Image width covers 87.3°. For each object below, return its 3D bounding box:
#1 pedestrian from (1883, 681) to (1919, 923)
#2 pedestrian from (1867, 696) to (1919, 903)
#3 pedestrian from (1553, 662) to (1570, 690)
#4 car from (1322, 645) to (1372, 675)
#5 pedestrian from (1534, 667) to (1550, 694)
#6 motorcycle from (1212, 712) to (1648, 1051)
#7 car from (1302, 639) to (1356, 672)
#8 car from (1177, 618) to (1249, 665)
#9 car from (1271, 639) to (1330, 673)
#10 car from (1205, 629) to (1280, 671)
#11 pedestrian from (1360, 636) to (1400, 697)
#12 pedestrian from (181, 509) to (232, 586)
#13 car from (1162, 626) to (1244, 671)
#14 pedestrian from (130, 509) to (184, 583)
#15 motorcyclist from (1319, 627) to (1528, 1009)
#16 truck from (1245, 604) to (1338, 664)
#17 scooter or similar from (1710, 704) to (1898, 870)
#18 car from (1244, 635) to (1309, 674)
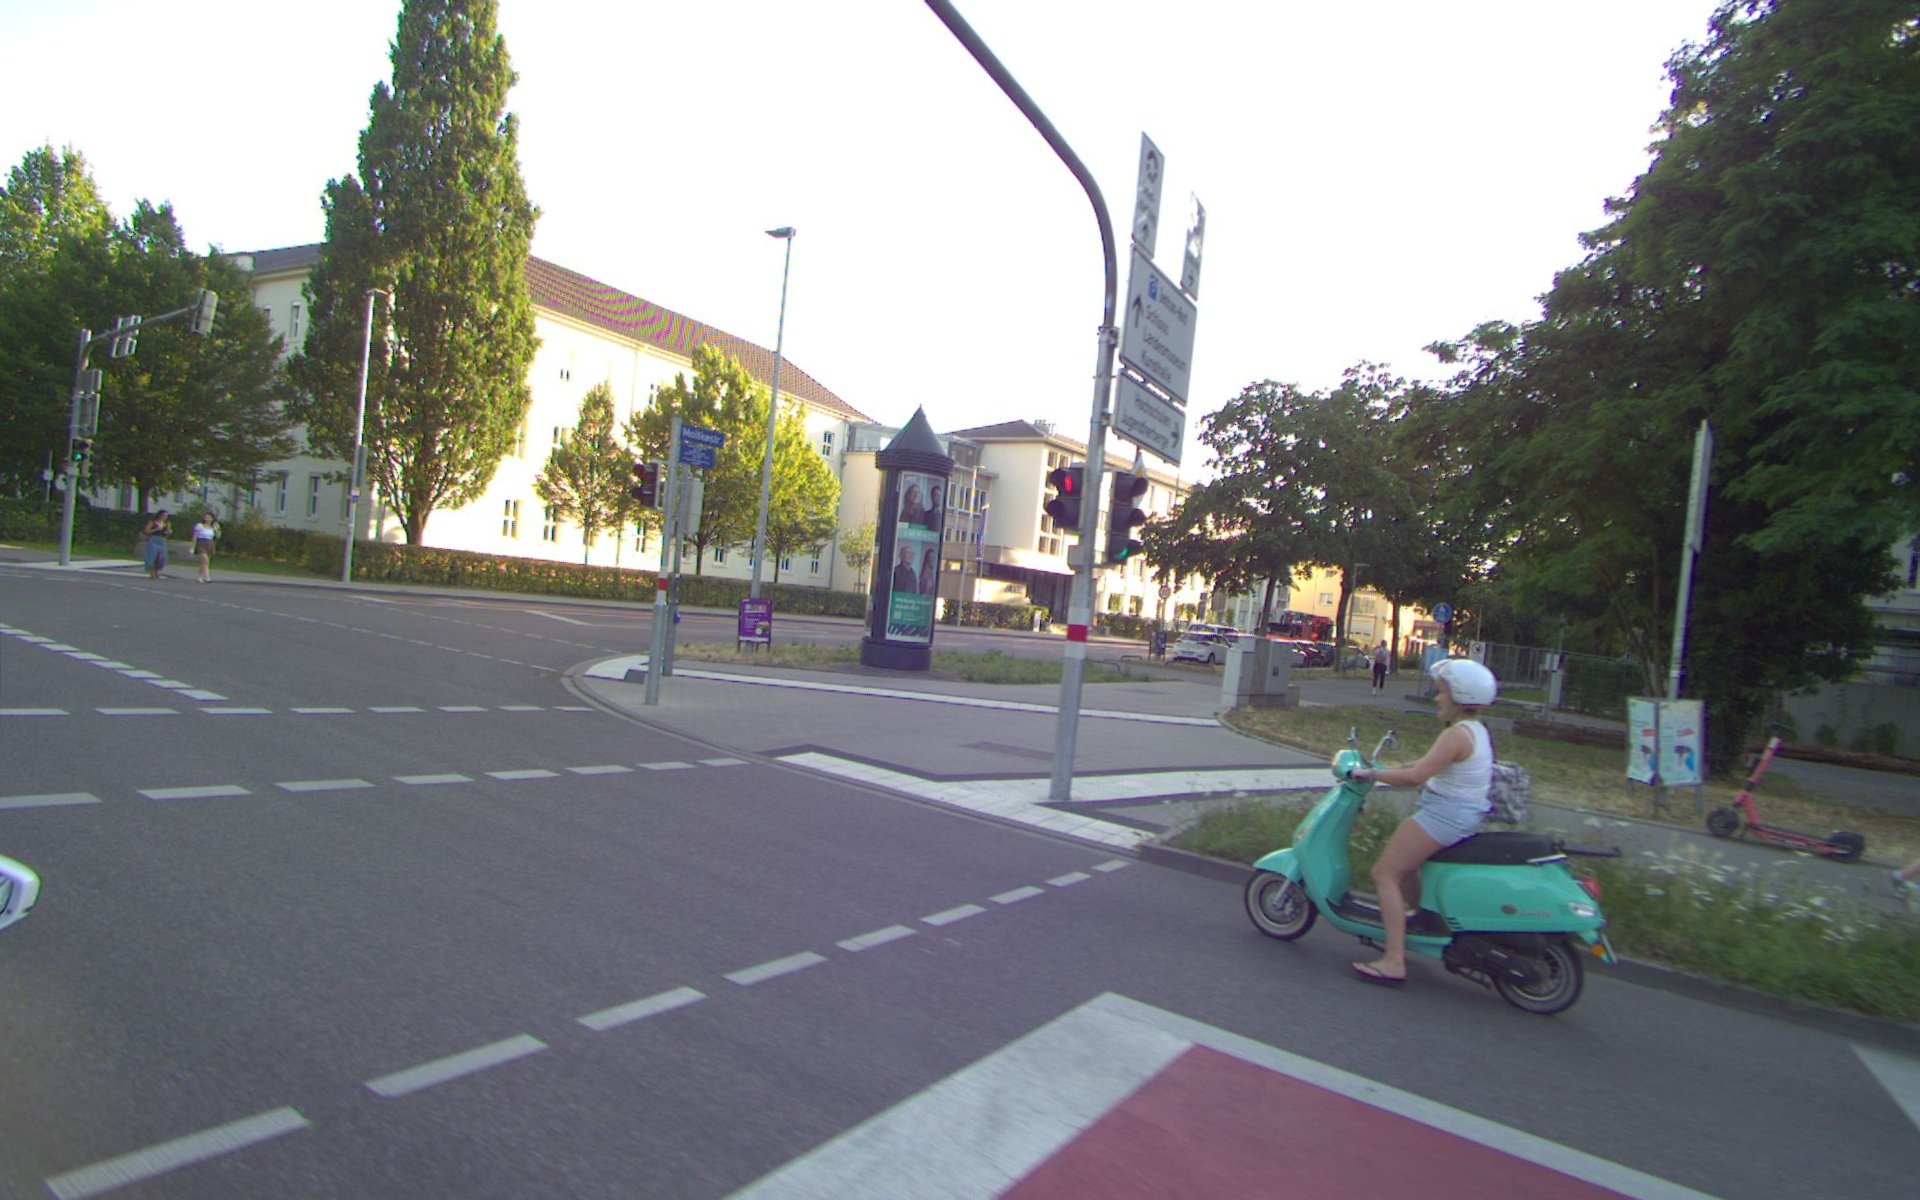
[{"bbox_3d":[7.212,1.461,7.091,0.764,1.681,0.719,7,1,33],"label":"pedestrian"},{"bbox_3d":[7.736,1.578,7.812,0.776,1.542,0.735,7,1,33],"label":"pedestrian"},{"bbox_3d":[37.187,4.688,62.215,0.672,1.643,0.686,7,1,36],"label":"pedestrian"},{"bbox_3d":[24.986,3.877,64.838,1.969,1.660,3.987,7,0,35],"label":"car"},{"bbox_3d":[37.169,5.163,64.287,0.672,1.643,0.686,7,1,36],"label":"pedestrian"},{"bbox_3d":[2.409,1.341,5.295,1.865,1.212,0.682,7,1,37],"label":"motorcycle"},{"bbox_3d":[22.090,3.354,60.150,1.969,1.660,3.987,7,0,35],"label":"car"},{"bbox_3d":[13.088,2.175,51.881,2.024,1.884,4.486,7,-2,35],"label":"car"},{"bbox_3d":[19.164,3.165,56.517,1.969,1.660,3.987,7,0,35],"label":"car"},{"bbox_3d":[13.457,2.399,47.808,1.970,1.632,3.985,7,0,37],"label":"car"},{"bbox_3d":[12.657,2.009,30.306,0.694,1.761,0.892,7,2,40],"label":"pedestrian"},{"bbox_3d":[-18.401,-1.276,24.570,0.677,1.776,0.681,7,2,31],"label":"pedestrian"},{"bbox_3d":[10.691,2.142,44.120,1.872,1.660,3.983,7,0,38],"label":"car"},{"bbox_3d":[-19.215,-1.286,24.073,0.831,1.643,0.681,7,2,31],"label":"pedestrian"},{"bbox_3d":[2.445,1.076,5.292,0.680,1.758,0.738,7,1,37],"label":"motorcyclist"},{"bbox_3d":[21.251,2.262,63.990,2.599,3.179,10.243,6,0,35],"label":"truck"},{"bbox_3d":[7.770,1.693,9.318,1.159,1.288,0.440,7,1,31],"label":"scooter or similar"},{"bbox_3d":[16.323,2.829,51.816,1.969,1.660,3.987,7,0,35],"label":"car"}]
